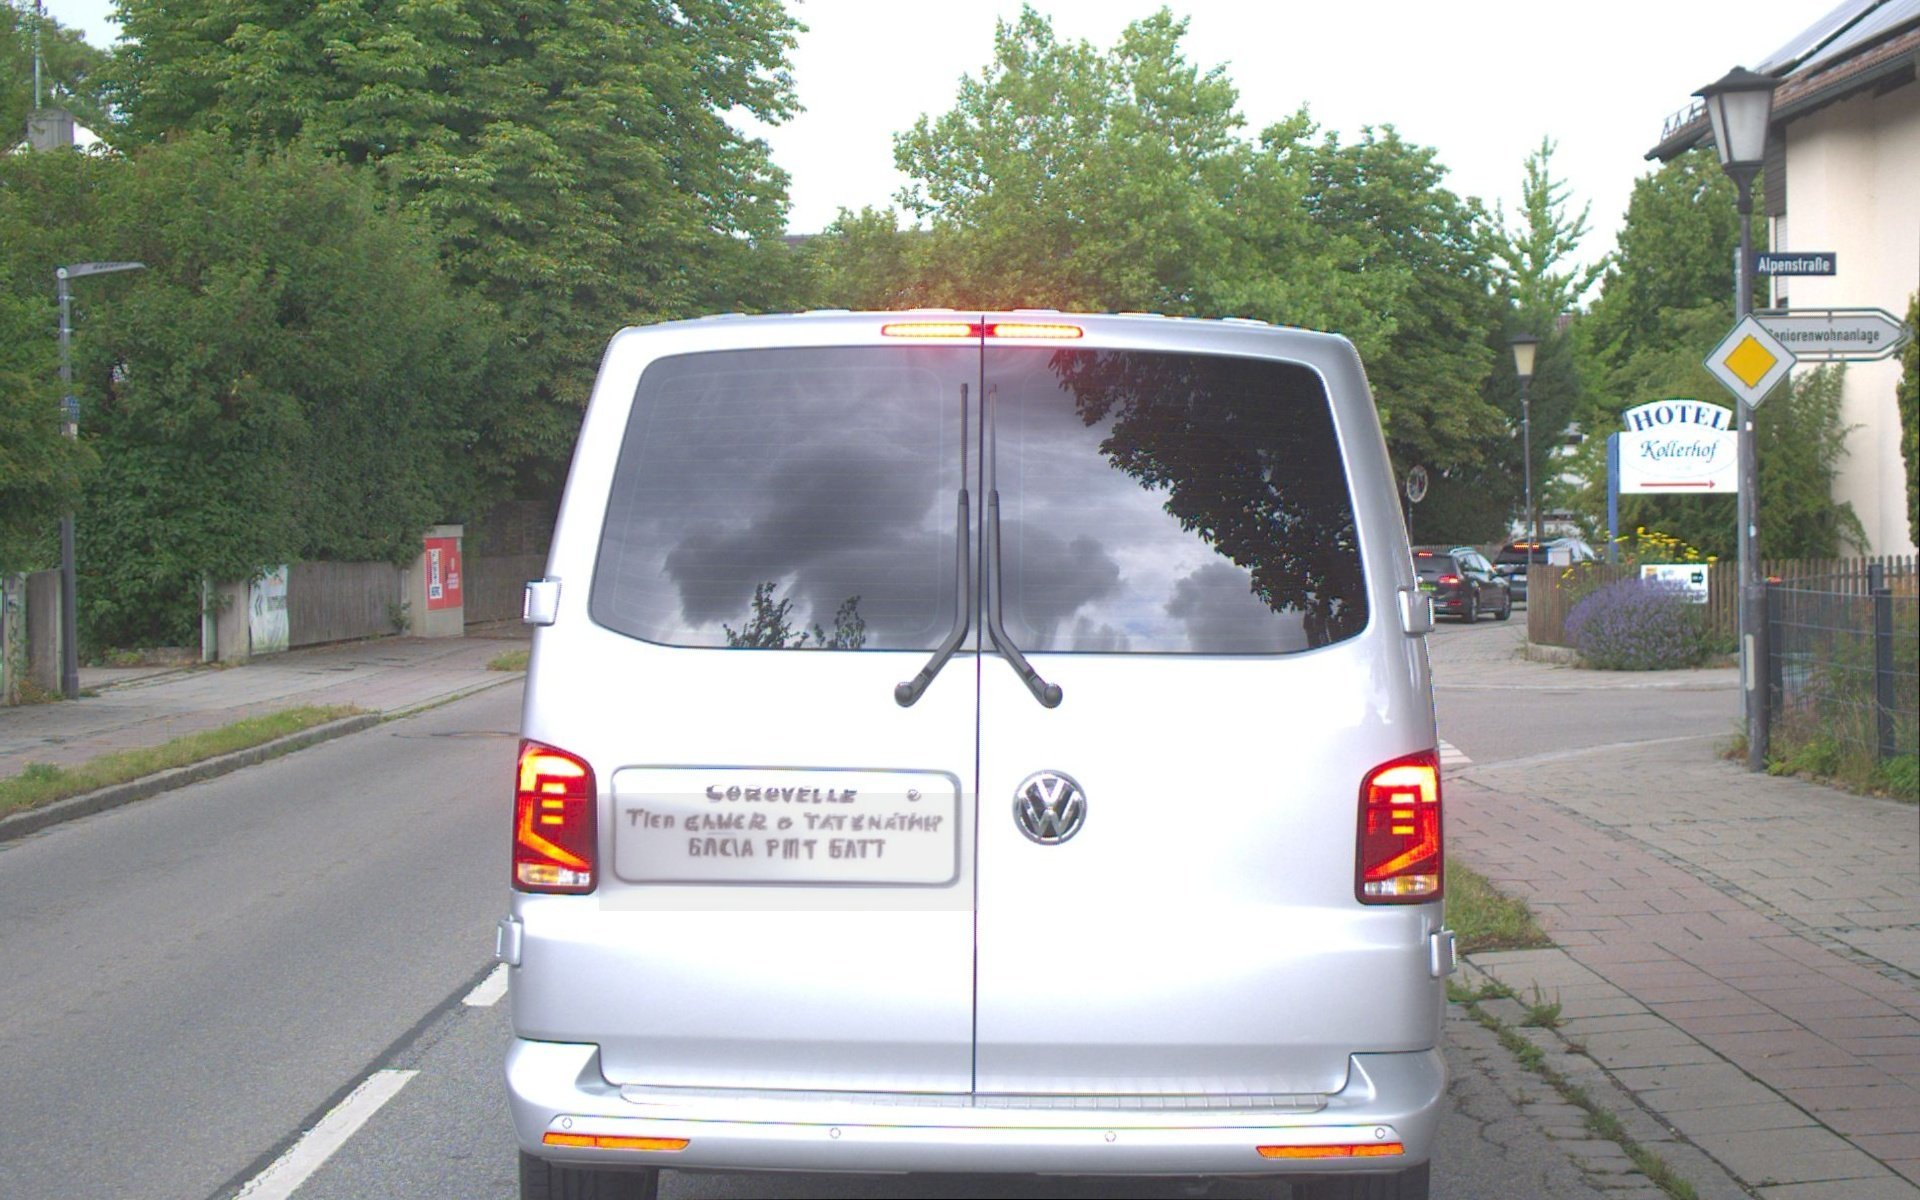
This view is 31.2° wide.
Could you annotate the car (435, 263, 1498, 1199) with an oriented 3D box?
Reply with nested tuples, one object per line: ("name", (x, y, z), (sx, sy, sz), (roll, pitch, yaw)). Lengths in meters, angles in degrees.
("car", (0.033, 0.339, 8.081), (1.881, 1.934, 3.921), (0, 1, 1))

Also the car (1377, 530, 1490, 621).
("car", (9.408, -0.500, 68.103), (1.882, 1.742, 4.078), (0, 1, 12))

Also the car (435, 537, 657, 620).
("car", (-7.601, -0.404, 63.051), (3.986, 1.481, 2.001), (0, 1, -8))

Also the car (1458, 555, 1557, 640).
("car", (12.224, -0.076, 76.616), (1.882, 1.819, 3.918), (0, 1, 14))

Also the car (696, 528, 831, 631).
("car", (-3.131, -0.354, 55.541), (1.930, 1.569, 4.312), (1, 1, 0))

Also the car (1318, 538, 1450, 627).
("car", (7.590, -0.330, 61.242), (1.882, 1.530, 3.918), (0, 1, 14))

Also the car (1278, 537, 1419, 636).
("car", (6.284, -0.244, 55.225), (1.882, 1.530, 3.919), (0, 1, 12))
